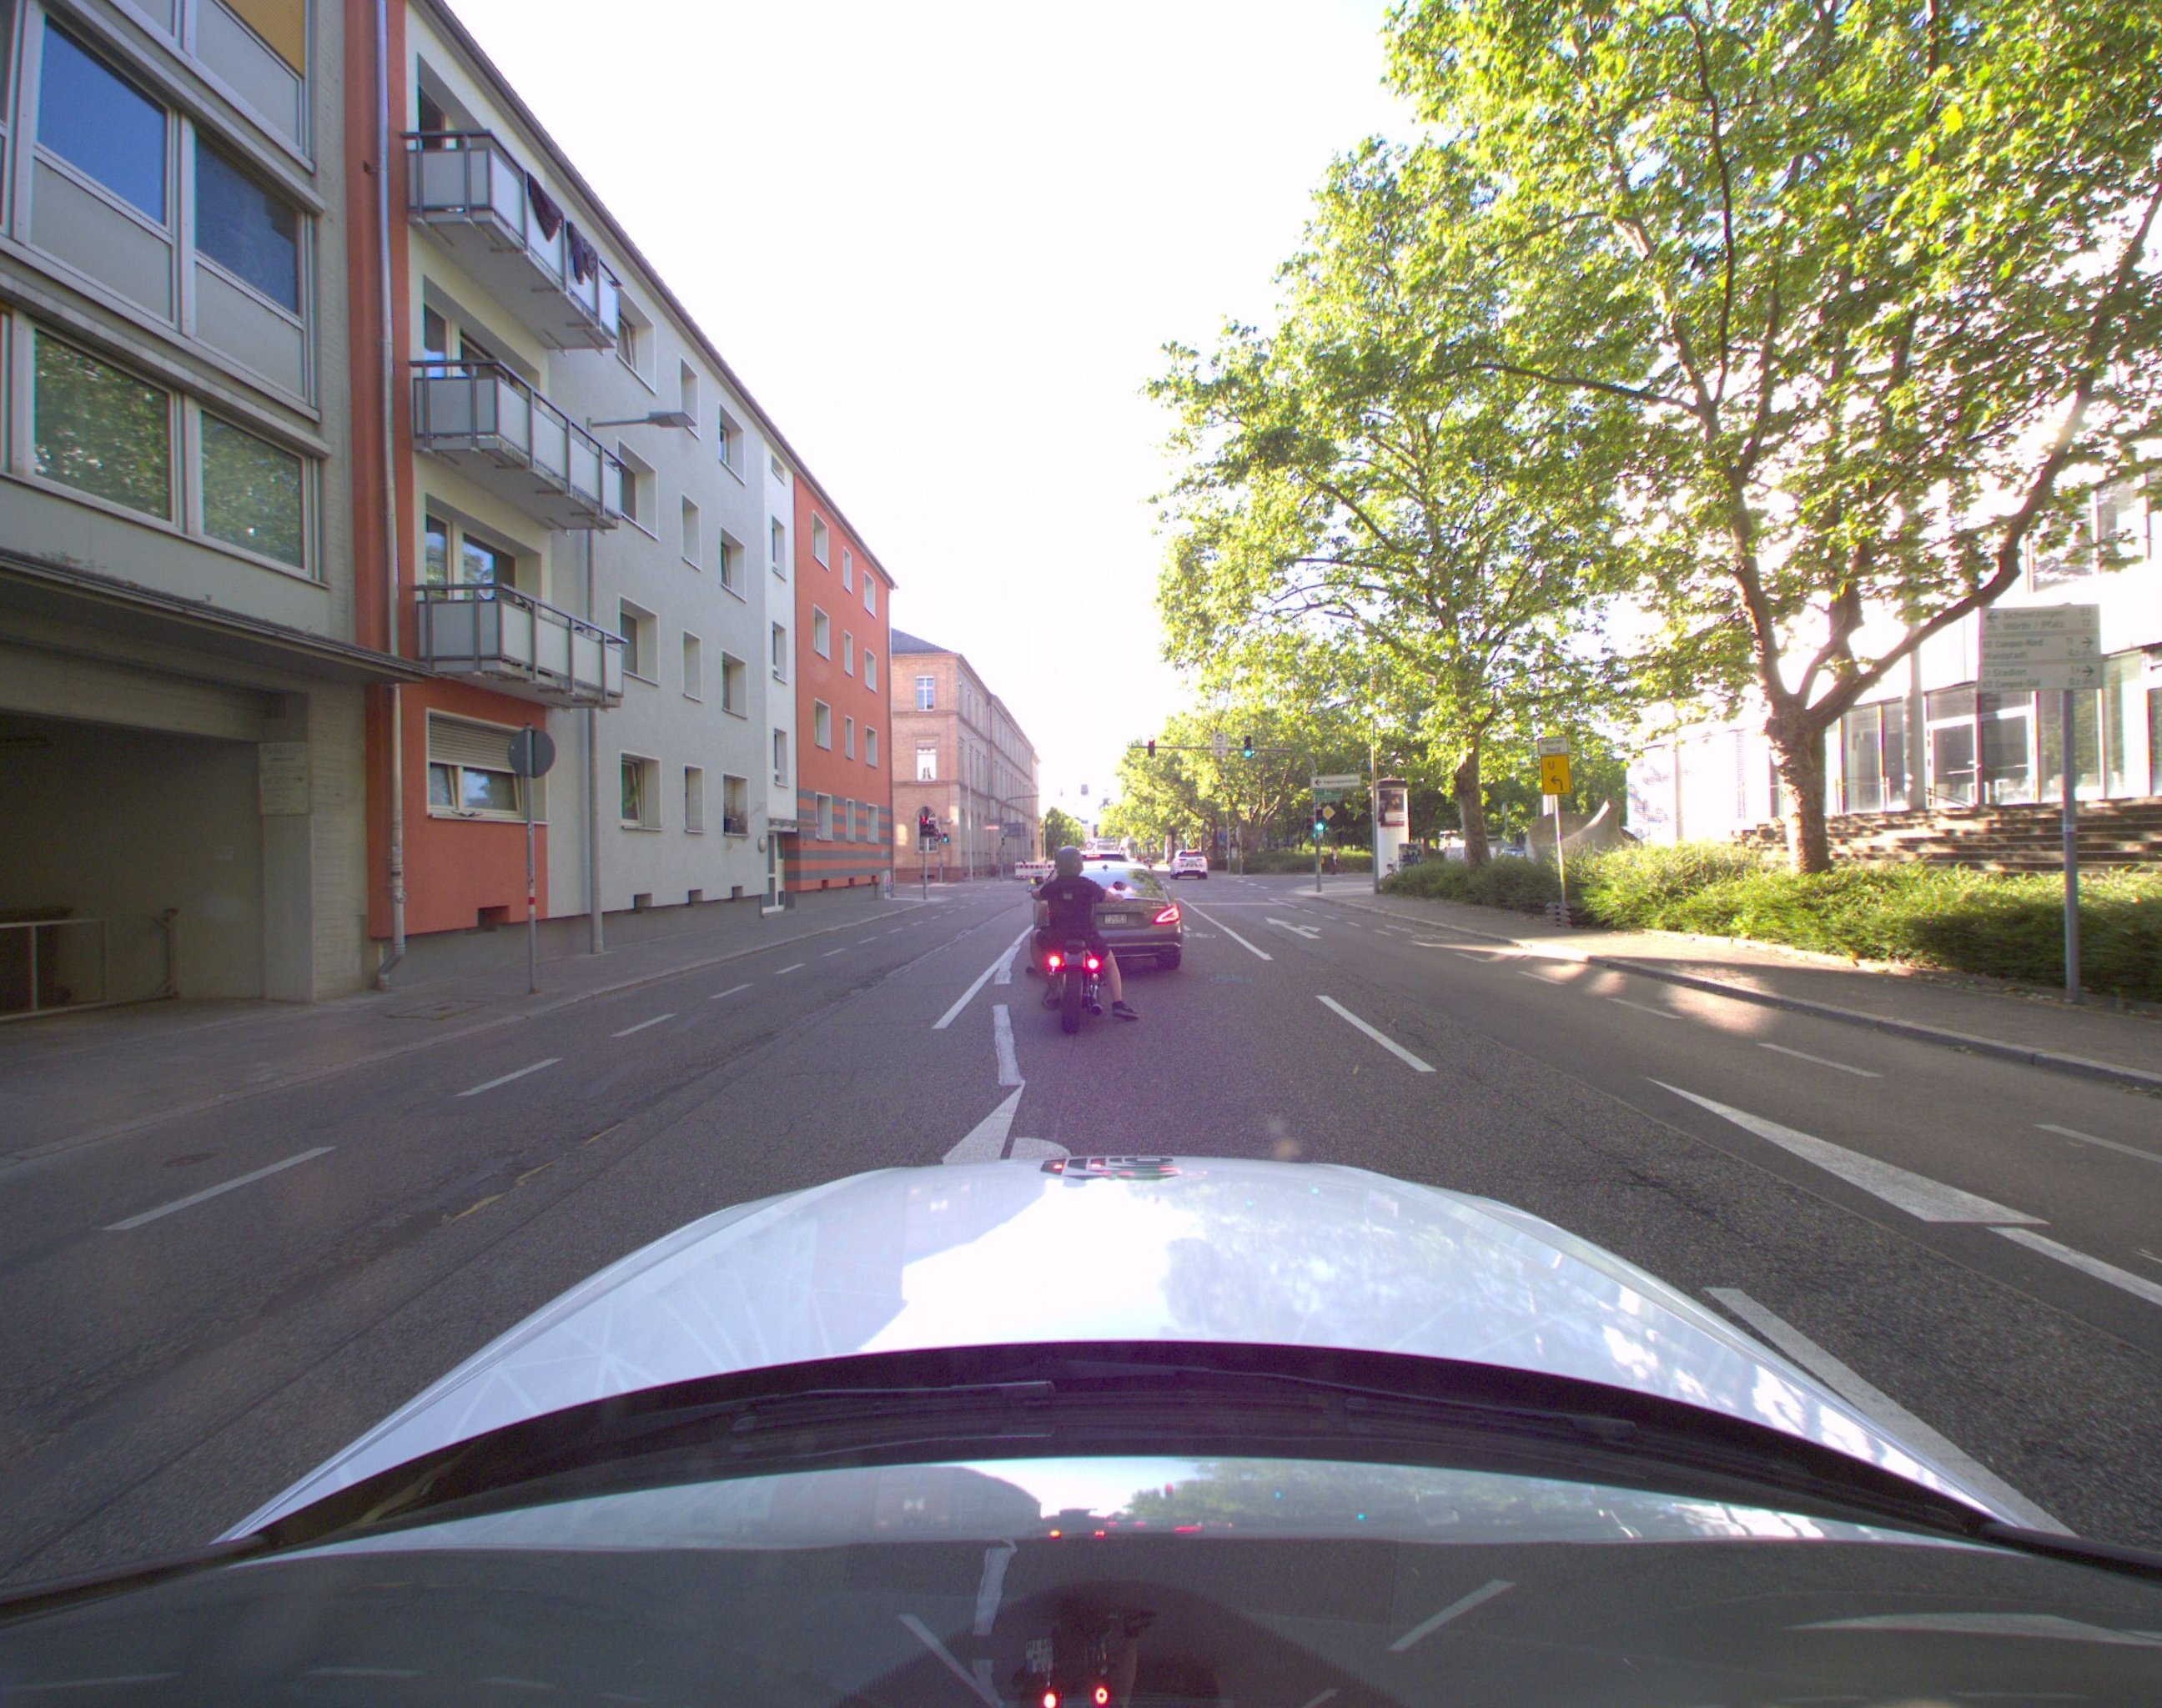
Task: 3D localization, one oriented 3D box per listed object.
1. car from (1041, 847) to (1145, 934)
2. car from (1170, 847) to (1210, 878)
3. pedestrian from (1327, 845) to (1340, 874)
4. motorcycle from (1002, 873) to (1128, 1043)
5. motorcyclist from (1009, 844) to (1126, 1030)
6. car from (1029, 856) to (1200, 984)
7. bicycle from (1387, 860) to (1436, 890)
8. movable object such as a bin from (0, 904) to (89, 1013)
[{"bbox_3d":[0.290,0.724,17.685,1.986,1.665,4.001,0,-1,2],"label":"car"},{"bbox_3d":[6.272,0.445,47.283,1.935,1.708,4.487,0,0,3],"label":"car"},{"bbox_3d":[15.621,0.331,50.373,0.671,1.772,0.621,-1,-1,31],"label":"pedestrian"},{"bbox_3d":[-0.092,0.857,7.703,0.977,1.275,2.408,-1,0,2],"label":"motorcycle"},{"bbox_3d":[-0.096,0.712,7.626,0.977,1.578,1.249,-1,0,1],"label":"motorcyclist"},{"bbox_3d":[0.264,0.772,11.758,1.867,1.444,4.421,-1,0,-6],"label":"car"},{"bbox_3d":[11.079,0.706,27.336,1.475,0.980,0.300,0,-1,7],"label":"bicycle"},{"bbox_3d":[-11.288,1.095,8.659,0.639,1.065,0.675,-1,0,1],"label":"movable object such as a bin"}]
